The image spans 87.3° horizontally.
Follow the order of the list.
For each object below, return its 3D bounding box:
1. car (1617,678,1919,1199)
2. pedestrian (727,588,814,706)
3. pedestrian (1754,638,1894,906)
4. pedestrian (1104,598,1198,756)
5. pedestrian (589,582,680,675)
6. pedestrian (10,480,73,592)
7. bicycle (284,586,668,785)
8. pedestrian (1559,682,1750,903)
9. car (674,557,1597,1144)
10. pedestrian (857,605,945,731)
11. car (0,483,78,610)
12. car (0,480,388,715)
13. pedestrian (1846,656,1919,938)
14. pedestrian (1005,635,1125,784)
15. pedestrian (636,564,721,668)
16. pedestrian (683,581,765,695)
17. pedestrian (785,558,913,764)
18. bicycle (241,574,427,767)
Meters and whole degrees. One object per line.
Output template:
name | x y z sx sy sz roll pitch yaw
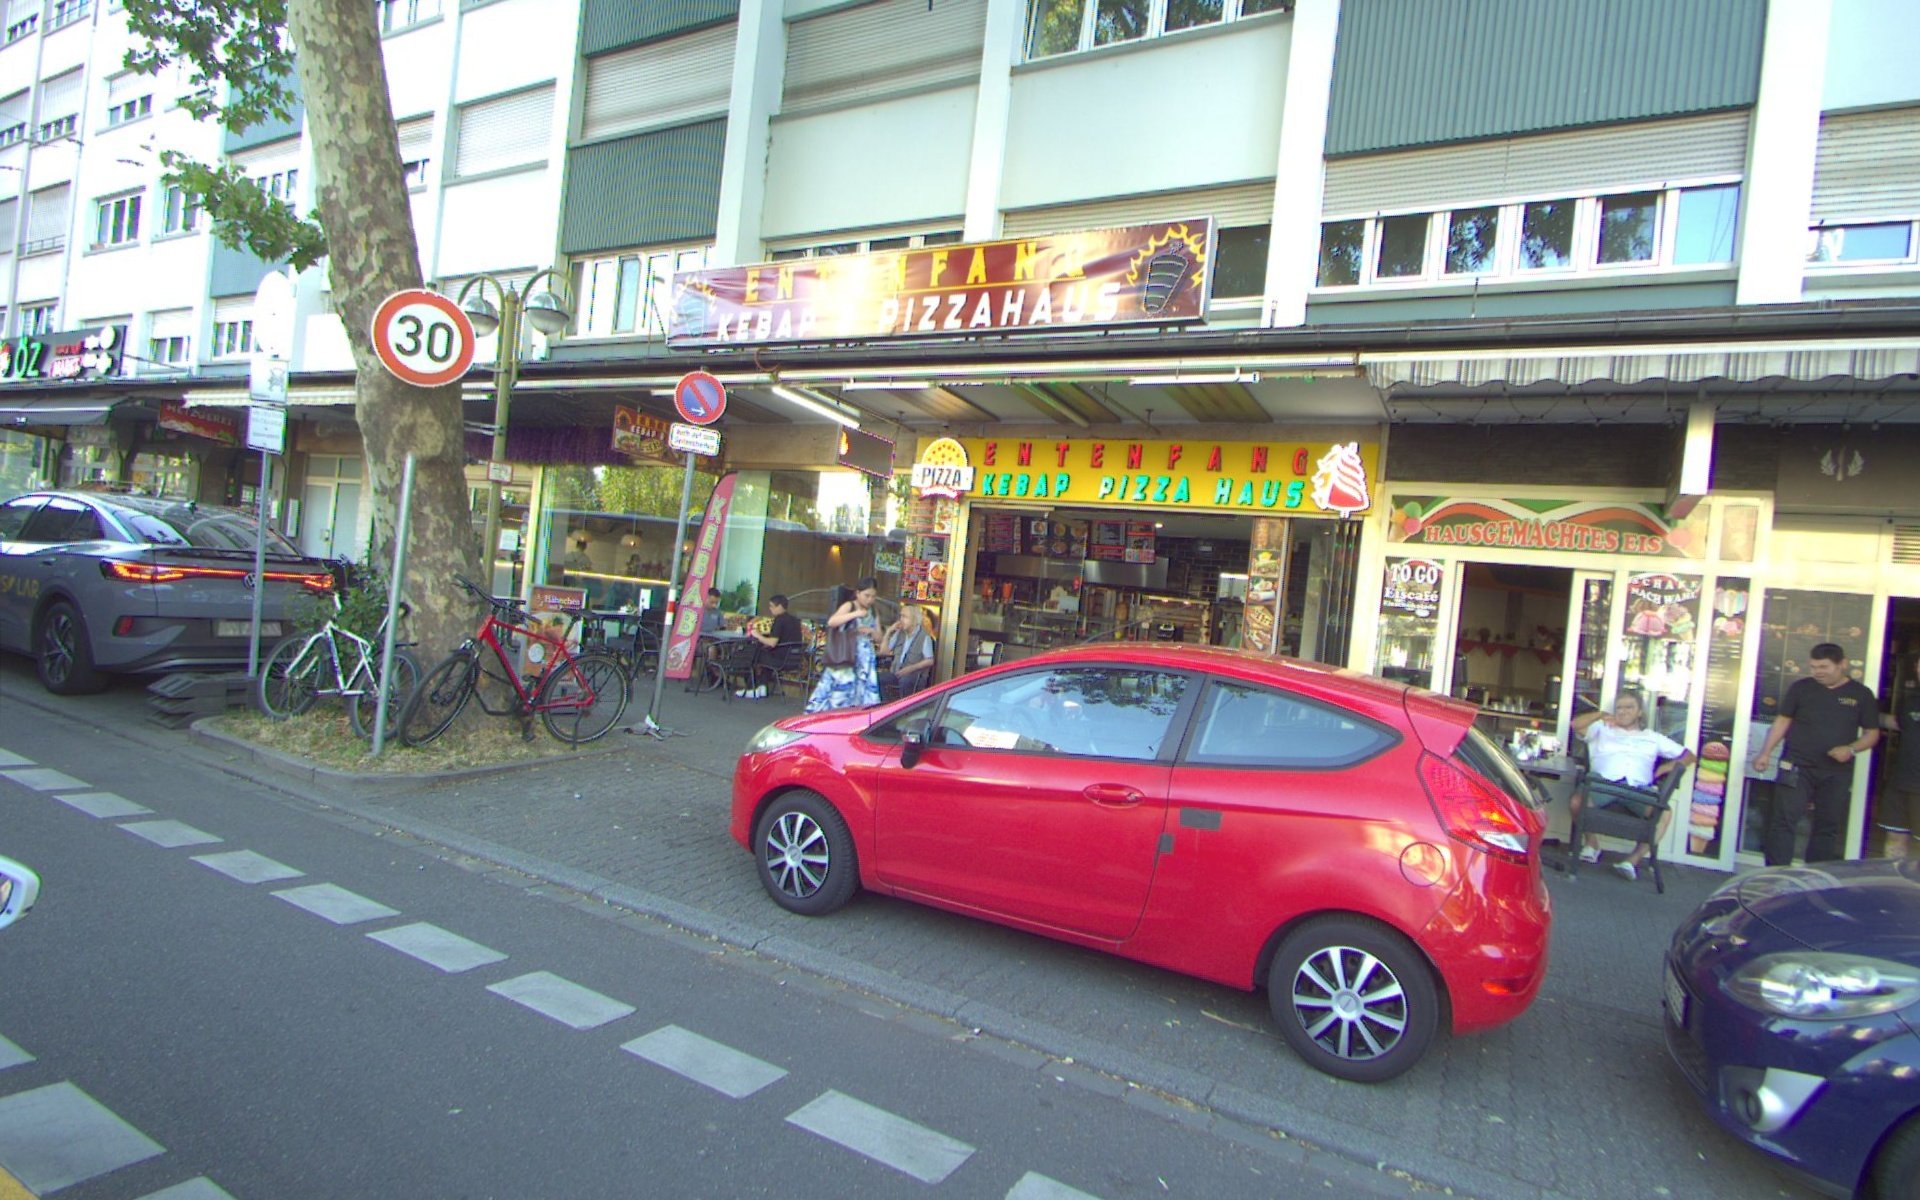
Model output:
car | 4.136 1.241 2.836 3.549 1.488 1.767 6 3 29
pedestrian | -2.184 0.534 11.611 0.679 1.261 0.558 7 2 33
pedestrian | 6.175 1.196 7.215 0.547 1.802 0.395 6 2 29
pedestrian | 2.035 0.816 10.704 0.589 1.566 0.700 7 0 34
pedestrian | -4.255 0.366 13.211 0.940 1.094 0.639 7 0 -9
pedestrian | -14.690 -1.019 16.106 0.661 1.688 0.593 4 2 -42
bicycle | -3.283 0.527 7.073 0.547 1.171 2.377 7 4 44
pedestrian | 5.031 1.337 7.383 0.937 1.352 1.069 7 0 30
car | 0.701 0.788 4.891 3.757 1.617 1.783 6 3 28
pedestrian | -0.629 0.722 10.858 0.550 1.252 0.689 7 2 29
car | -14.365 -0.927 13.738 4.292 1.603 1.996 7 2 27
car | -7.598 -0.152 9.223 4.292 1.603 1.996 7 2 27
pedestrian | 6.436 1.308 6.708 0.391 1.805 0.552 4 2 -29
pedestrian | 0.978 0.982 9.310 0.798 1.225 0.654 7 2 28
pedestrian | -4.025 0.222 14.465 0.958 1.350 0.830 6 0 -9
pedestrian | -2.823 0.453 12.031 0.680 1.261 0.557 7 2 38
pedestrian | -0.951 0.516 8.614 0.790 1.667 0.577 4 0 -42
bicycle | -4.505 0.473 7.211 1.421 1.169 0.553 6 0 36
